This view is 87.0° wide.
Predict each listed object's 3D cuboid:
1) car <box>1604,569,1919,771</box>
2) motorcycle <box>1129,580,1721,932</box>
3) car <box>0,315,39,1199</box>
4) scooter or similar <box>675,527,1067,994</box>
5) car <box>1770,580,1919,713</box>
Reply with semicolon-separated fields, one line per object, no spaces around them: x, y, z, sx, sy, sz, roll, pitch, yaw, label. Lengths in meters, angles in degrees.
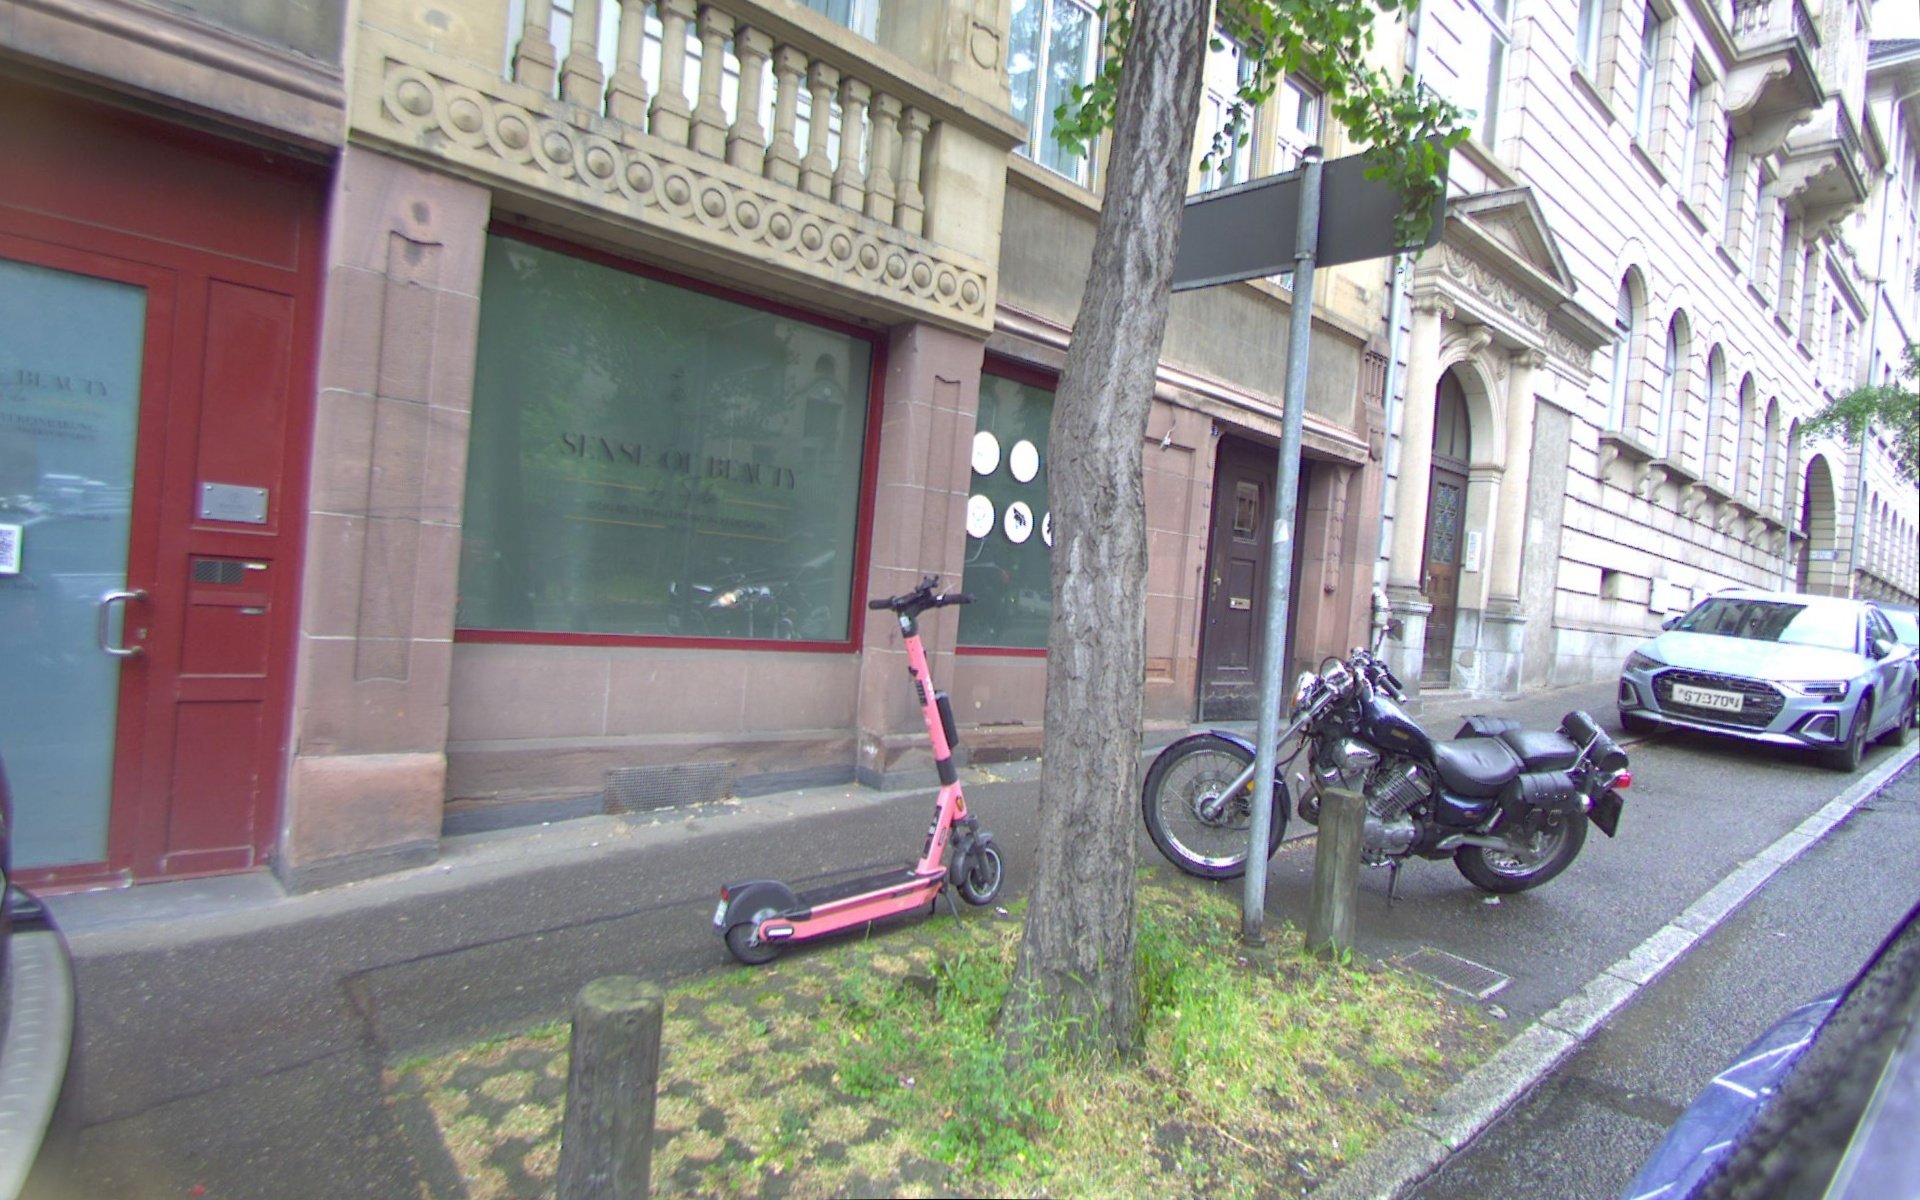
8.114;0.544;9.958;3.967;1.469;1.795;0;5;-40;car
1.957;0.650;4.425;2.232;1.258;0.525;5;3;-2;motorcycle
-2.915;0.425;0.139;4.025;1.670;1.765;0;7;-40;car
-0.281;0.452;3.504;1.182;1.334;0.594;1;3;-41;scooter or similar
12.281;0.556;13.597;3.124;1.466;1.496;0;5;-40;car
